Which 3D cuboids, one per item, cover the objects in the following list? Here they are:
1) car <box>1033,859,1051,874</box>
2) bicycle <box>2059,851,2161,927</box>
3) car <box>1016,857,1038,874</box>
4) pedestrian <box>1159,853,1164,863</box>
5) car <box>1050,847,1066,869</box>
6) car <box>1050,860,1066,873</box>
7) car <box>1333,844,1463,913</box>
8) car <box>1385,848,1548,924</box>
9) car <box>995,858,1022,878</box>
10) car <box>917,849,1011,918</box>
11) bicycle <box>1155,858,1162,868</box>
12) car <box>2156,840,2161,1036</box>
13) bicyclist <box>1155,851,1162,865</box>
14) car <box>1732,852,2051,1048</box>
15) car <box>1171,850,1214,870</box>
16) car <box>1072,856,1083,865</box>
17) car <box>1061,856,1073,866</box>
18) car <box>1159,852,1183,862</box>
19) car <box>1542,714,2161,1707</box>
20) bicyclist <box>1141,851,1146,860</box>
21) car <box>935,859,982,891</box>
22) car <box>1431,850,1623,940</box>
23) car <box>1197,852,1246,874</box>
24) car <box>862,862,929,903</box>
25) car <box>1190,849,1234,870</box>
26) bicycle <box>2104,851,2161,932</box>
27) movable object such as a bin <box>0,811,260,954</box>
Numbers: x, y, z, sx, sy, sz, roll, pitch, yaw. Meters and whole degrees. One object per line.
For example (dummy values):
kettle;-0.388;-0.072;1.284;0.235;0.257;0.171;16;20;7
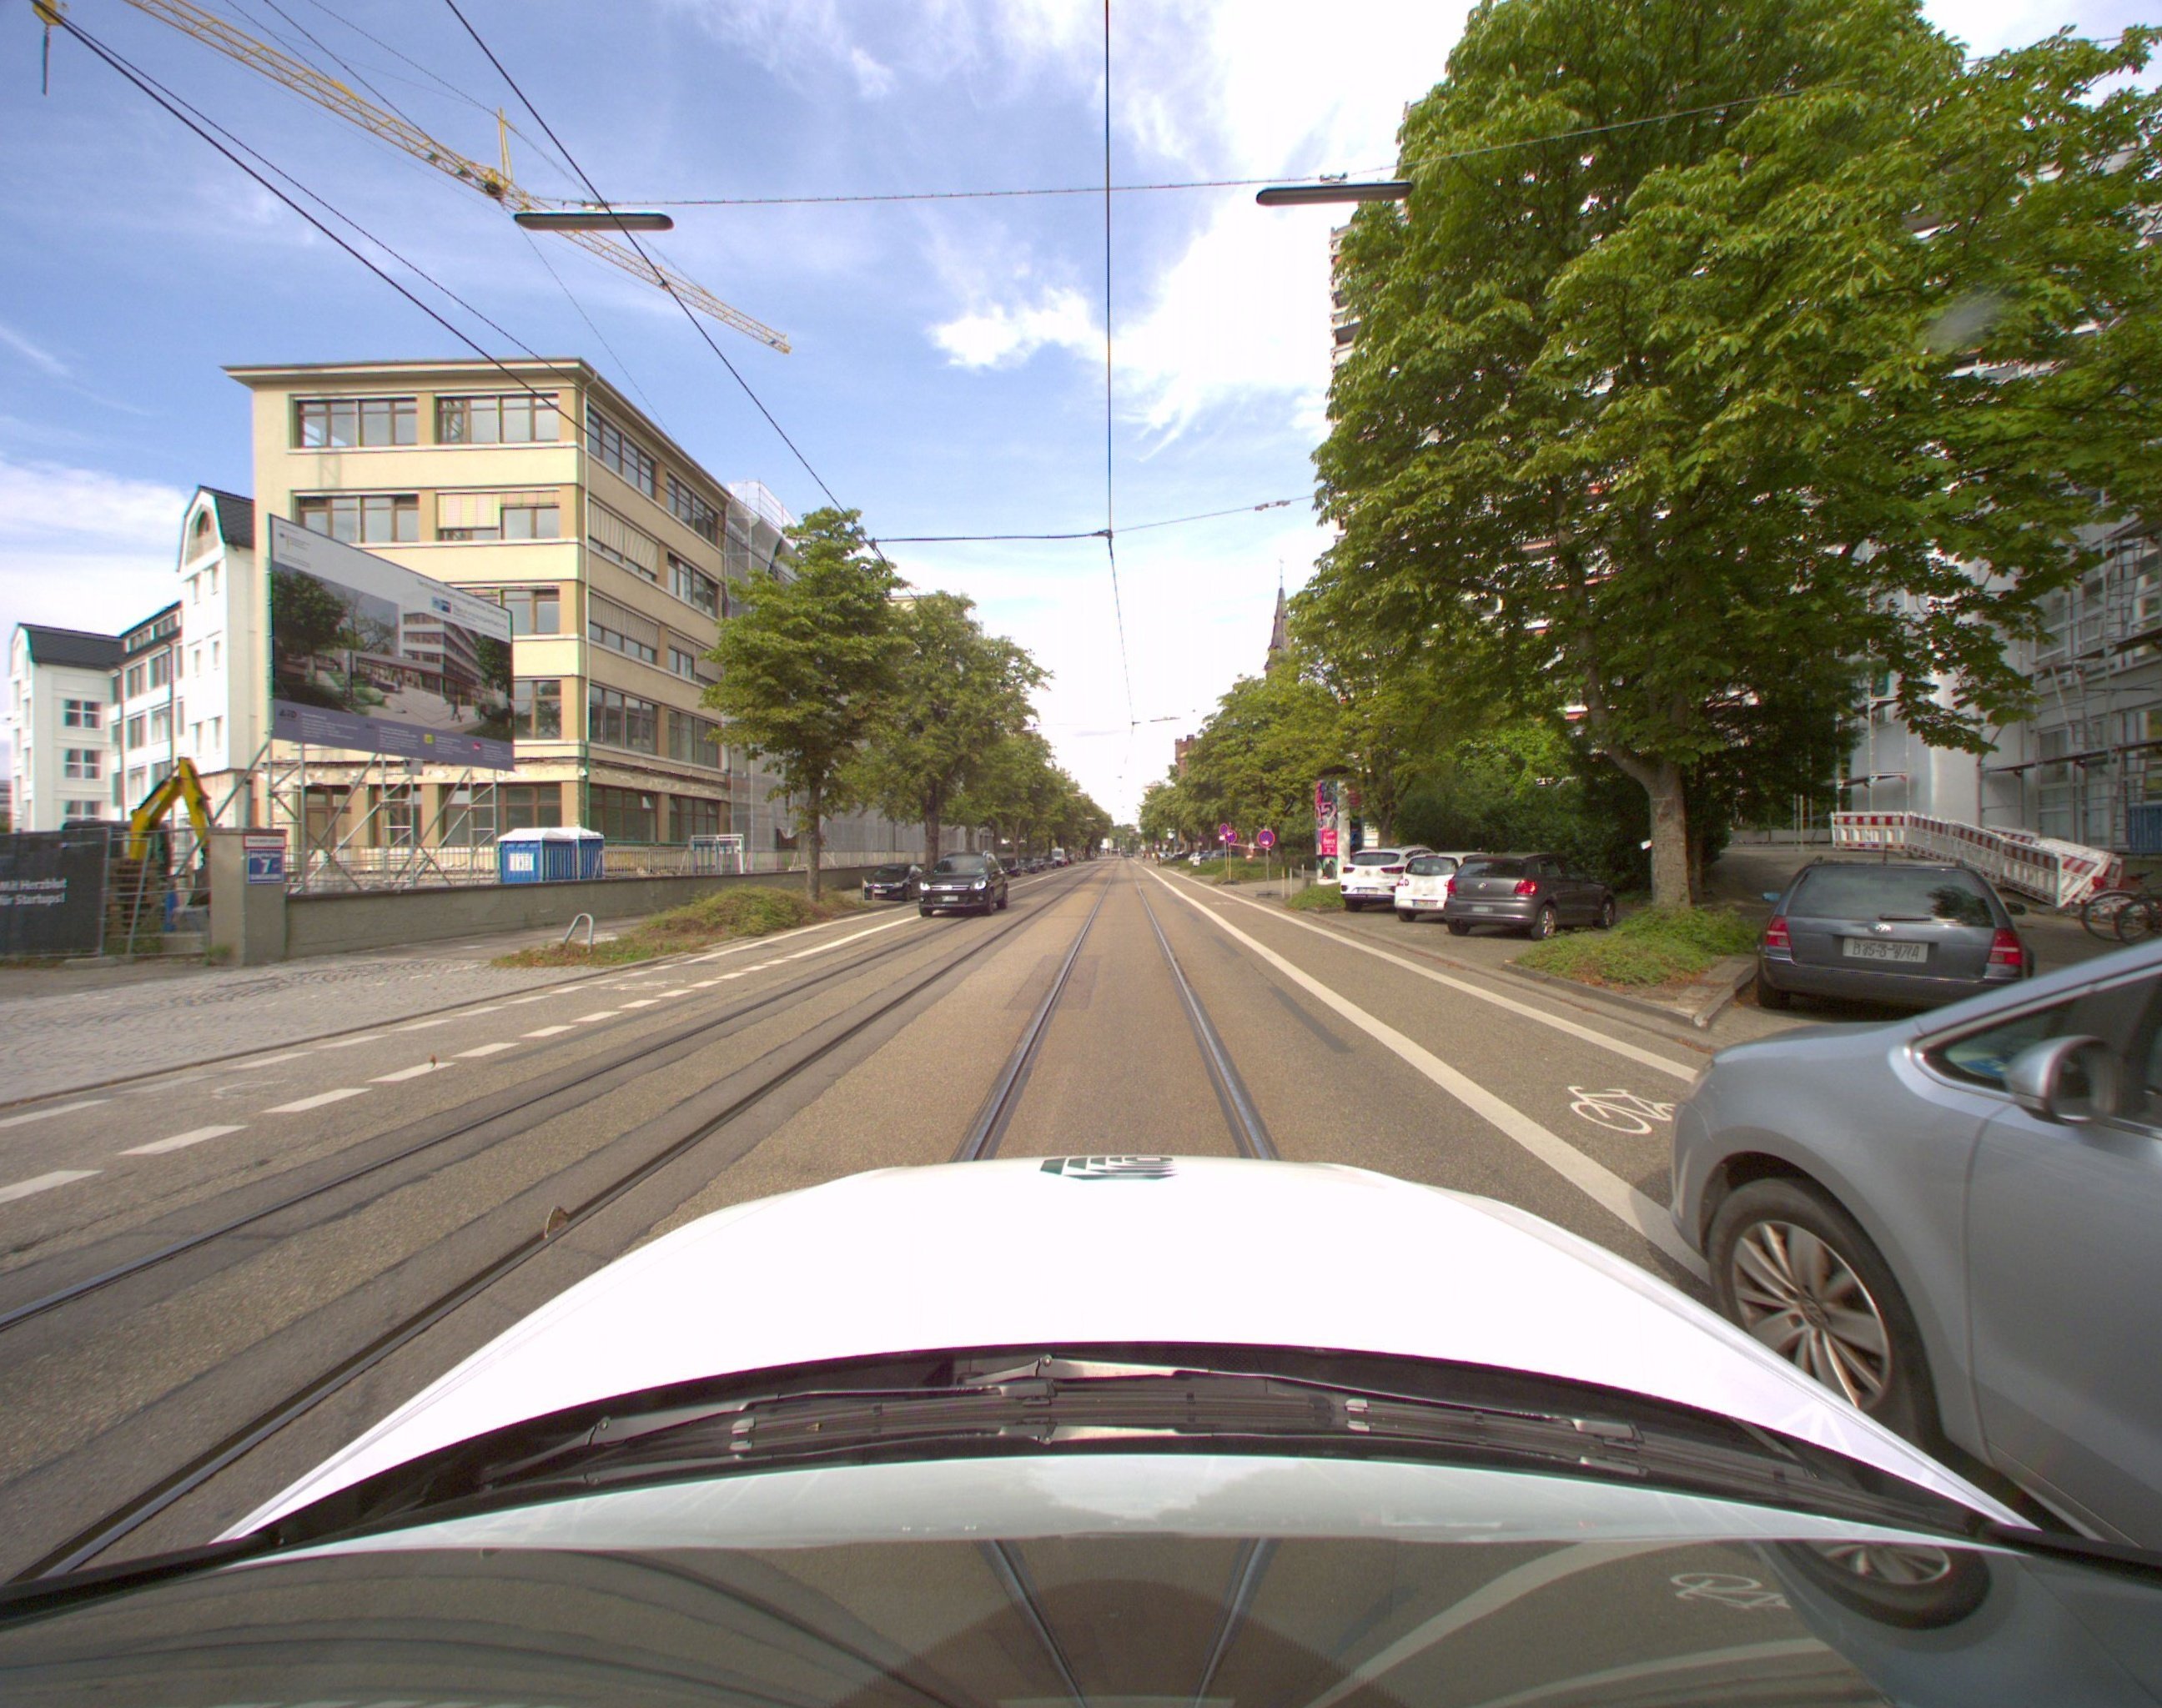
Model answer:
car;-3.865;1.261;81.659;1.585;1.402;3.963;0;0;1
bicycle;15.160;0.478;11.298;1.952;1.043;0.598;-1;0;40
car;-4.731;0.984;71.458;1.585;1.402;3.963;0;0;1
pedestrian;14.190;0.725;142.840;0.741;1.790;0.734;-1;-1;18
car;-2.940;0.507;105.209;1.714;2.704;5.471;0;0;1
car;-2.598;1.344;91.823;1.585;1.402;3.963;0;0;1
car;8.161;0.576;20.837;3.667;1.602;1.662;0;-1;-43
car;8.383;0.635;17.610;3.663;1.474;1.663;0;-1;-37
car;-5.404;1.045;61.168;1.585;1.402;3.963;0;0;1
car;-3.062;0.726;22.205;1.725;1.628;4.380;-2;0;2
bicycle;8.130;0.916;85.565;0.590;1.043;1.978;-1;0;1
car;7.892;0.668;4.837;3.435;1.537;1.577;-1;0;-41
bicyclist;8.129;0.427;85.569;0.590;1.459;0.875;-1;0;1
car;7.908;0.706;8.025;4.194;1.415;1.794;0;-1;-44
car;9.430;0.484;68.838;3.667;1.602;1.662;0;-1;-43
car;-0.518;0.982;130.591;1.584;1.402;3.552;0;0;3
car;-2.071;1.054;117.674;1.585;1.402;3.963;0;0;1
car;15.770;0.503;142.938;3.978;1.693;1.998;-1;0;-3
car;2.662;0.613;0.971;1.804;1.701;4.621;-1;0;3
bicyclist;10.149;0.194;132.071;0.656;1.496;0.930;-1;0;3
car;-6.205;1.035;41.661;1.629;1.496;3.964;0;0;2
car;8.093;0.649;14.688;3.663;1.419;1.663;0;-1;-37
car;10.363;0.640;59.853;3.667;1.602;1.662;0;-1;-43
car;-6.994;1.045;31.014;1.585;1.402;3.963;0;0;1
car;10.725;0.437;66.649;3.667;1.602;1.662;0;-1;-43
bicycle;14.789;0.482;10.465;1.952;1.043;0.598;-1;0;30
movable object such as a bin;-18.275;0.512;15.484;3.030;2.443;2.506;-1;-1;13
